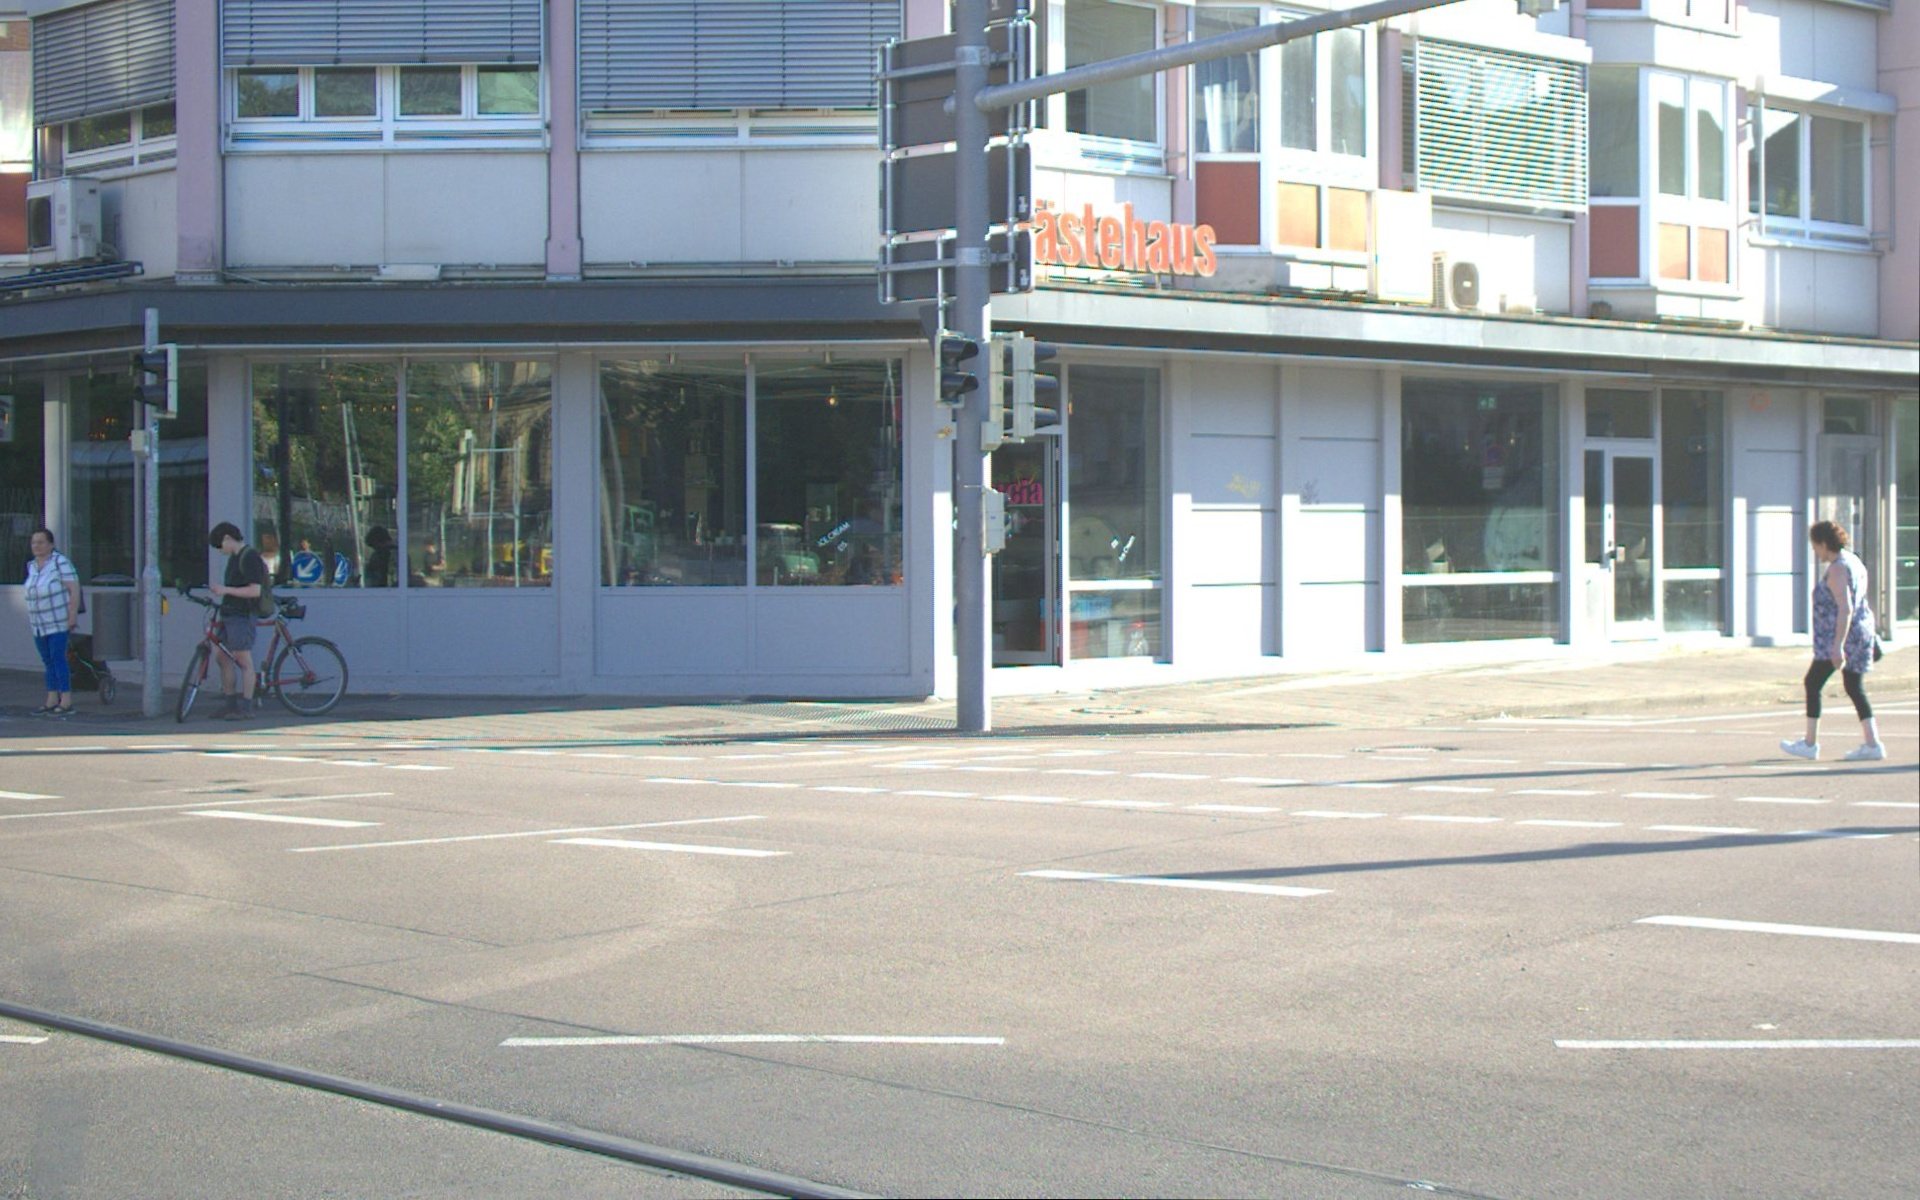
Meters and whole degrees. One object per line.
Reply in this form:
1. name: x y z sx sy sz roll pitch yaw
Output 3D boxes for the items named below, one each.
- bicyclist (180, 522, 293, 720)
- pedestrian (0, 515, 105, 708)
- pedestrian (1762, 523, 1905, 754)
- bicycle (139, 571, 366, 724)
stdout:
1. bicyclist: -6.090 0.166 28.930 0.656 1.591 0.640 -5 5 -42
2. pedestrian: -7.941 0.093 29.941 0.715 1.656 0.633 0 1 21
3. pedestrian: 5.737 0.258 22.568 0.854 1.460 0.685 2 -3 15
4. bicycle: -5.967 0.382 29.058 1.765 1.141 0.640 -5 6 -42
